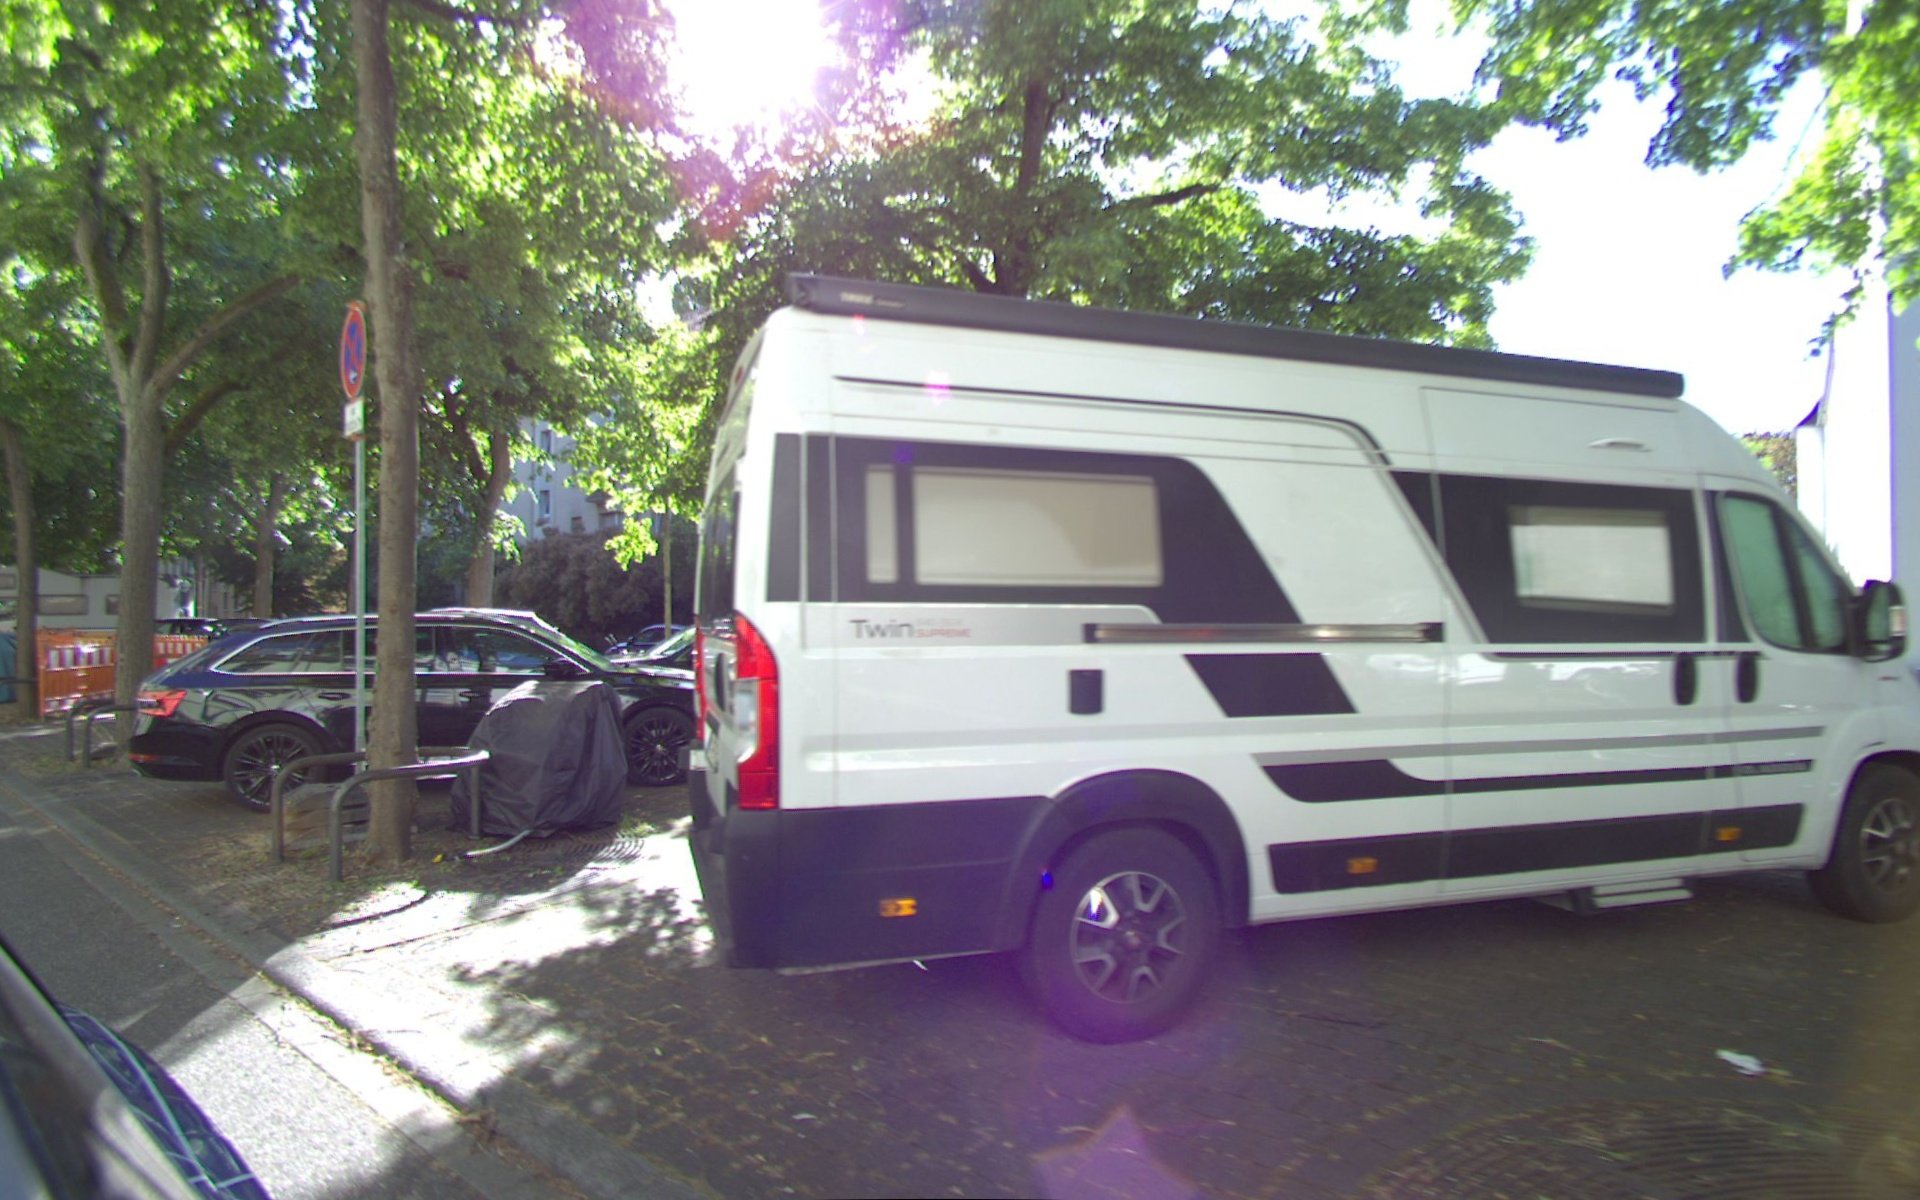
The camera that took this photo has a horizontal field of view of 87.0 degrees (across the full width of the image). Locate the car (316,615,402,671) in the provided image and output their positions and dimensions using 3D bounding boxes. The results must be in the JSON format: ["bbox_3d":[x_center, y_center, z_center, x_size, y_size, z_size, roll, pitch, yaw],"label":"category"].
[{"bbox_3d":[-23.091,1.595,38.818,4.265,2.029,1.604,-1,-2,41],"label":"car"}]

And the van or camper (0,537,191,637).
[{"bbox_3d":[-29.035,-0.352,32.887,5.928,3.025,2.407,2,-3,-21],"label":"van or camper"}]

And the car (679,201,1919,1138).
[{"bbox_3d":[1.939,0.215,4.848,6.219,2.578,2.345,0,-1,-18],"label":"car"}]

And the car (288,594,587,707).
[{"bbox_3d":[-8.321,0.830,16.395,4.062,1.638,1.703,2,-3,-27],"label":"car"}]

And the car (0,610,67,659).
[{"bbox_3d":[-33.075,1.159,34.208,3.930,1.629,1.803,2,-3,-25],"label":"car"}]

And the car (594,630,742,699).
[{"bbox_3d":[-7.457,1.558,25.667,4.191,1.586,1.604,-1,-2,41],"label":"car"}]

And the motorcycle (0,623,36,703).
[{"bbox_3d":[-16.964,1.091,17.884,0.622,1.334,2.234,0,-1,-35],"label":"motorcycle"}]

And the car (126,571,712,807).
[{"bbox_3d":[-4.327,0.641,8.714,4.030,1.537,1.707,-3,-1,-20],"label":"car"}]

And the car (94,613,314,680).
[{"bbox_3d":[-18.415,1.160,24.850,3.932,1.530,1.675,2,-3,-16],"label":"car"}]

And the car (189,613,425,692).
[{"bbox_3d":[-13.081,1.055,20.526,3.846,1.472,1.582,2,-2,-30],"label":"car"}]

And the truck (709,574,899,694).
[{"bbox_3d":[-3.547,0.764,22.612,4.263,2.428,1.901,-1,-3,42],"label":"truck"}]

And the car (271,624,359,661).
[{"bbox_3d":[-26.992,1.764,42.296,3.997,1.497,1.973,-1,-3,40],"label":"car"}]

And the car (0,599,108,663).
[{"bbox_3d":[-39.107,1.249,41.368,6.094,2.530,2.145,2,-3,-23],"label":"car"}]

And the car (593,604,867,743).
[{"bbox_3d":[-2.687,0.823,11.928,2.905,1.464,1.248,2,-2,-28],"label":"car"}]

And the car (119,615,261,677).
[{"bbox_3d":[-22.313,1.348,29.425,2.941,1.730,1.426,1,-2,-18],"label":"car"}]

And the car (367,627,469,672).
[{"bbox_3d":[-18.819,1.690,35.063,4.124,1.454,1.701,-1,-3,40],"label":"car"}]
